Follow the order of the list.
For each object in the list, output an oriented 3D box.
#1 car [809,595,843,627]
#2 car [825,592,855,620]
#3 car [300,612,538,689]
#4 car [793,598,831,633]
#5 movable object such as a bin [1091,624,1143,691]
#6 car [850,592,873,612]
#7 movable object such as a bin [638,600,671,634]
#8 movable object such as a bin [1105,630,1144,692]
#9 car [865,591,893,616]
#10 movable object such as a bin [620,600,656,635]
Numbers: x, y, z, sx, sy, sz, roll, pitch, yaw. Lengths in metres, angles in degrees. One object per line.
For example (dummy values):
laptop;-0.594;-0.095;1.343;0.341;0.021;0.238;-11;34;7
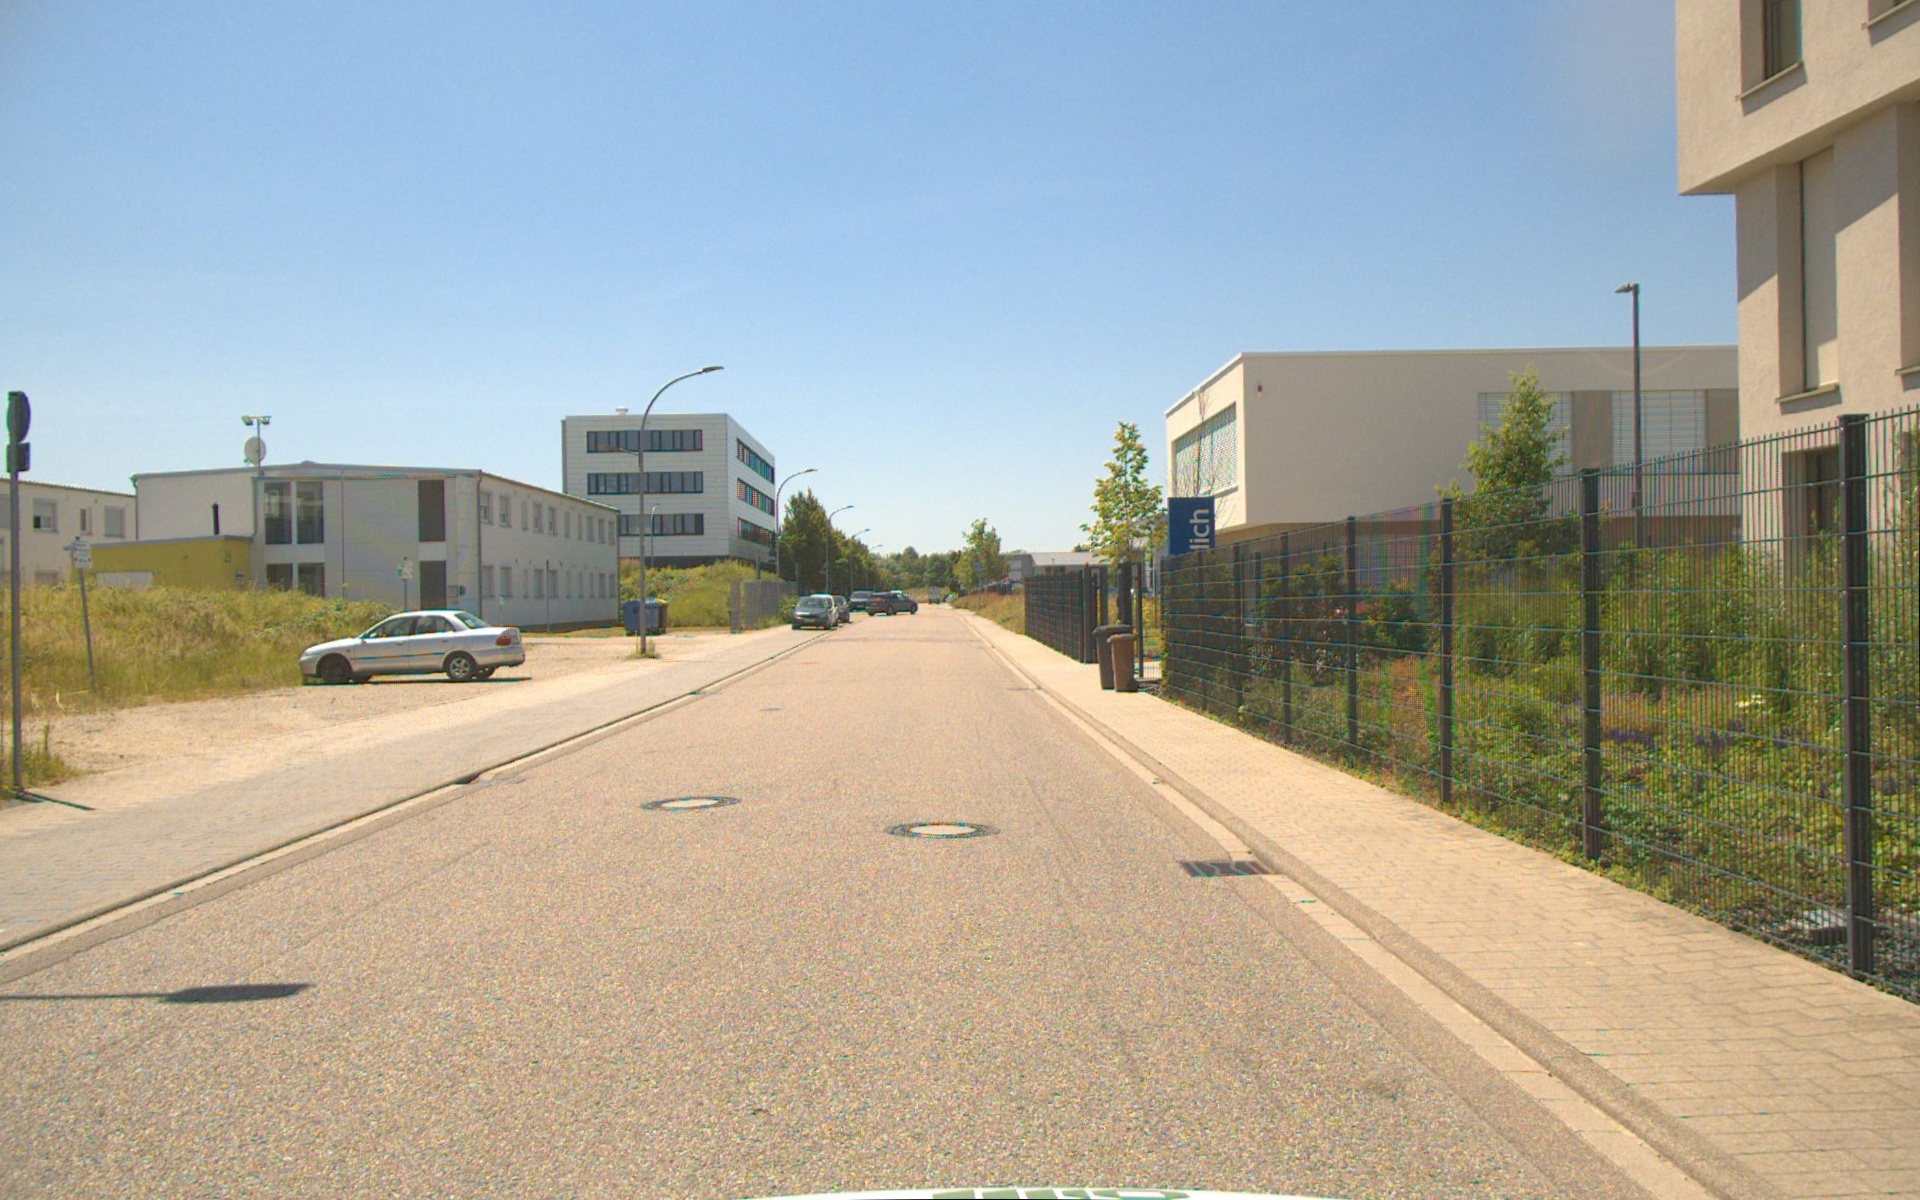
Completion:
car;-6.631;0.534;81.982;1.437;1.516;3.207;-1;0;-1
car;-6.616;0.332;91.093;1.437;1.516;3.207;-1;0;-1
car;-10.946;1.014;33.699;4.191;1.388;1.897;-2;0;-1
car;-6.691;0.682;74.864;1.437;1.516;3.207;-1;0;-1
movable object such as a bin;2.689;0.978;28.395;0.763;1.037;0.665;-5;1;3
car;-7.711;0.150;129.997;1.611;1.516;3.207;-1;0;-1
movable object such as a bin;-13.325;0.725;72.211;1.260;1.436;1.805;-1;0;-5
movable object such as a bin;2.728;1.012;27.412;0.541;0.944;0.522;-5;1;3
car;-5.532;0.216;113.691;1.789;1.671;3.207;-1;0;-1
movable object such as a bin;-13.341;0.715;68.620;1.260;1.436;1.805;-1;0;-5
